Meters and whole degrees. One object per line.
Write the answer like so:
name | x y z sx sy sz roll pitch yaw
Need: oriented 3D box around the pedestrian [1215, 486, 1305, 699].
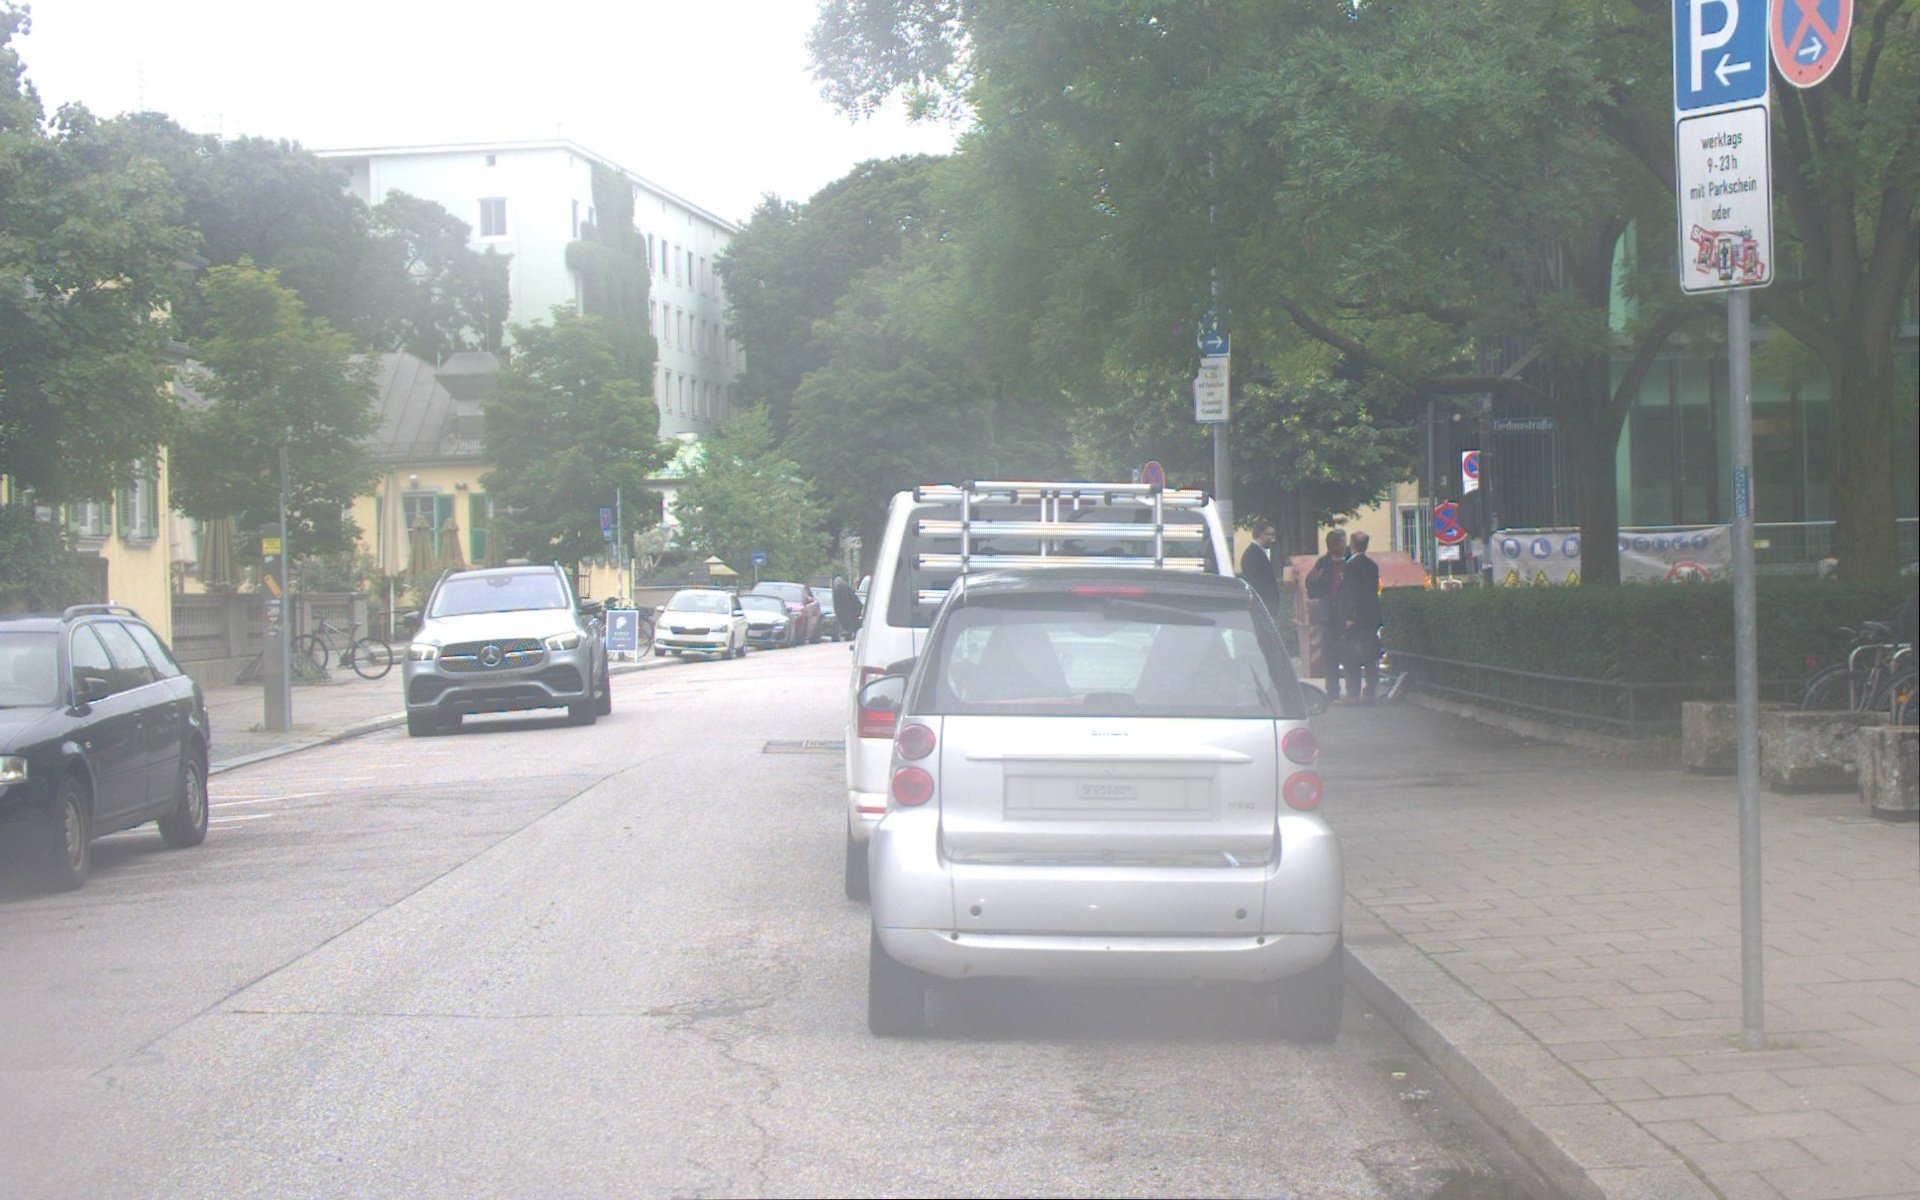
pedestrian | 3.073 -0.077 35.298 0.742 2.127 1.056 -2 0 -1

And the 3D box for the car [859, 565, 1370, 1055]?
car | 0.488 0.656 12.409 1.605 1.541 2.934 1 0 0

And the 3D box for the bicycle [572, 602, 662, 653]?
bicycle | -7.044 0.562 70.780 0.623 1.001 2.136 2 1 33

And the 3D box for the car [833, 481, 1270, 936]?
car | 0.336 0.450 17.509 1.845 1.926 5.273 1 0 -1

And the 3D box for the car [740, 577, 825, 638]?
car | -4.777 0.217 92.950 1.993 1.597 4.000 -1 0 1

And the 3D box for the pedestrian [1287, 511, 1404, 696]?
pedestrian | 4.067 0.029 36.235 0.744 1.901 1.054 -2 0 35

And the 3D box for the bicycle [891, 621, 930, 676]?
bicycle | -0.900 0.873 62.451 0.626 0.952 1.860 1 0 1

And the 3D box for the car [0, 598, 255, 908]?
car | -5.526 0.794 19.344 1.993 1.486 4.883 -3 0 1

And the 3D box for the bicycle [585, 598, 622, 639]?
bicycle | -9.018 0.469 87.028 0.621 1.001 1.618 -1 -1 6

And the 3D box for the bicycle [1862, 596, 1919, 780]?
bicycle | 6.637 0.503 21.299 1.931 1.110 0.471 -3 0 2

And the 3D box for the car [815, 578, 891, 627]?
car | -3.417 0.058 110.793 1.994 1.481 3.999 -1 1 4

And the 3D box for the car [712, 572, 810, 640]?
car | -5.047 0.123 87.869 1.994 1.643 4.655 -1 0 3

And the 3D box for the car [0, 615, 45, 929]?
car | -5.330 0.841 14.081 1.922 1.434 4.918 -3 0 -2

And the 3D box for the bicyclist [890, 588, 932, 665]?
bicyclist | -0.896 0.479 62.469 0.704 1.388 0.868 1 0 1

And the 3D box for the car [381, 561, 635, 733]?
car | -4.837 0.455 37.457 2.025 1.683 4.677 -2 1 1

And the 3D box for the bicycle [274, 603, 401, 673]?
bicycle | -10.115 0.617 55.907 1.931 1.095 0.615 1 0 3

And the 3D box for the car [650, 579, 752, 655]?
car | -5.649 0.343 75.283 1.734 1.576 3.787 2 0 3

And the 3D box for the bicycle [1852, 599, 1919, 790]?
bicycle | 6.374 0.525 20.510 1.931 1.110 0.471 -3 0 2

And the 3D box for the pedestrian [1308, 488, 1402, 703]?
pedestrian | 4.017 -0.048 35.023 0.742 2.127 1.056 -2 0 -1
